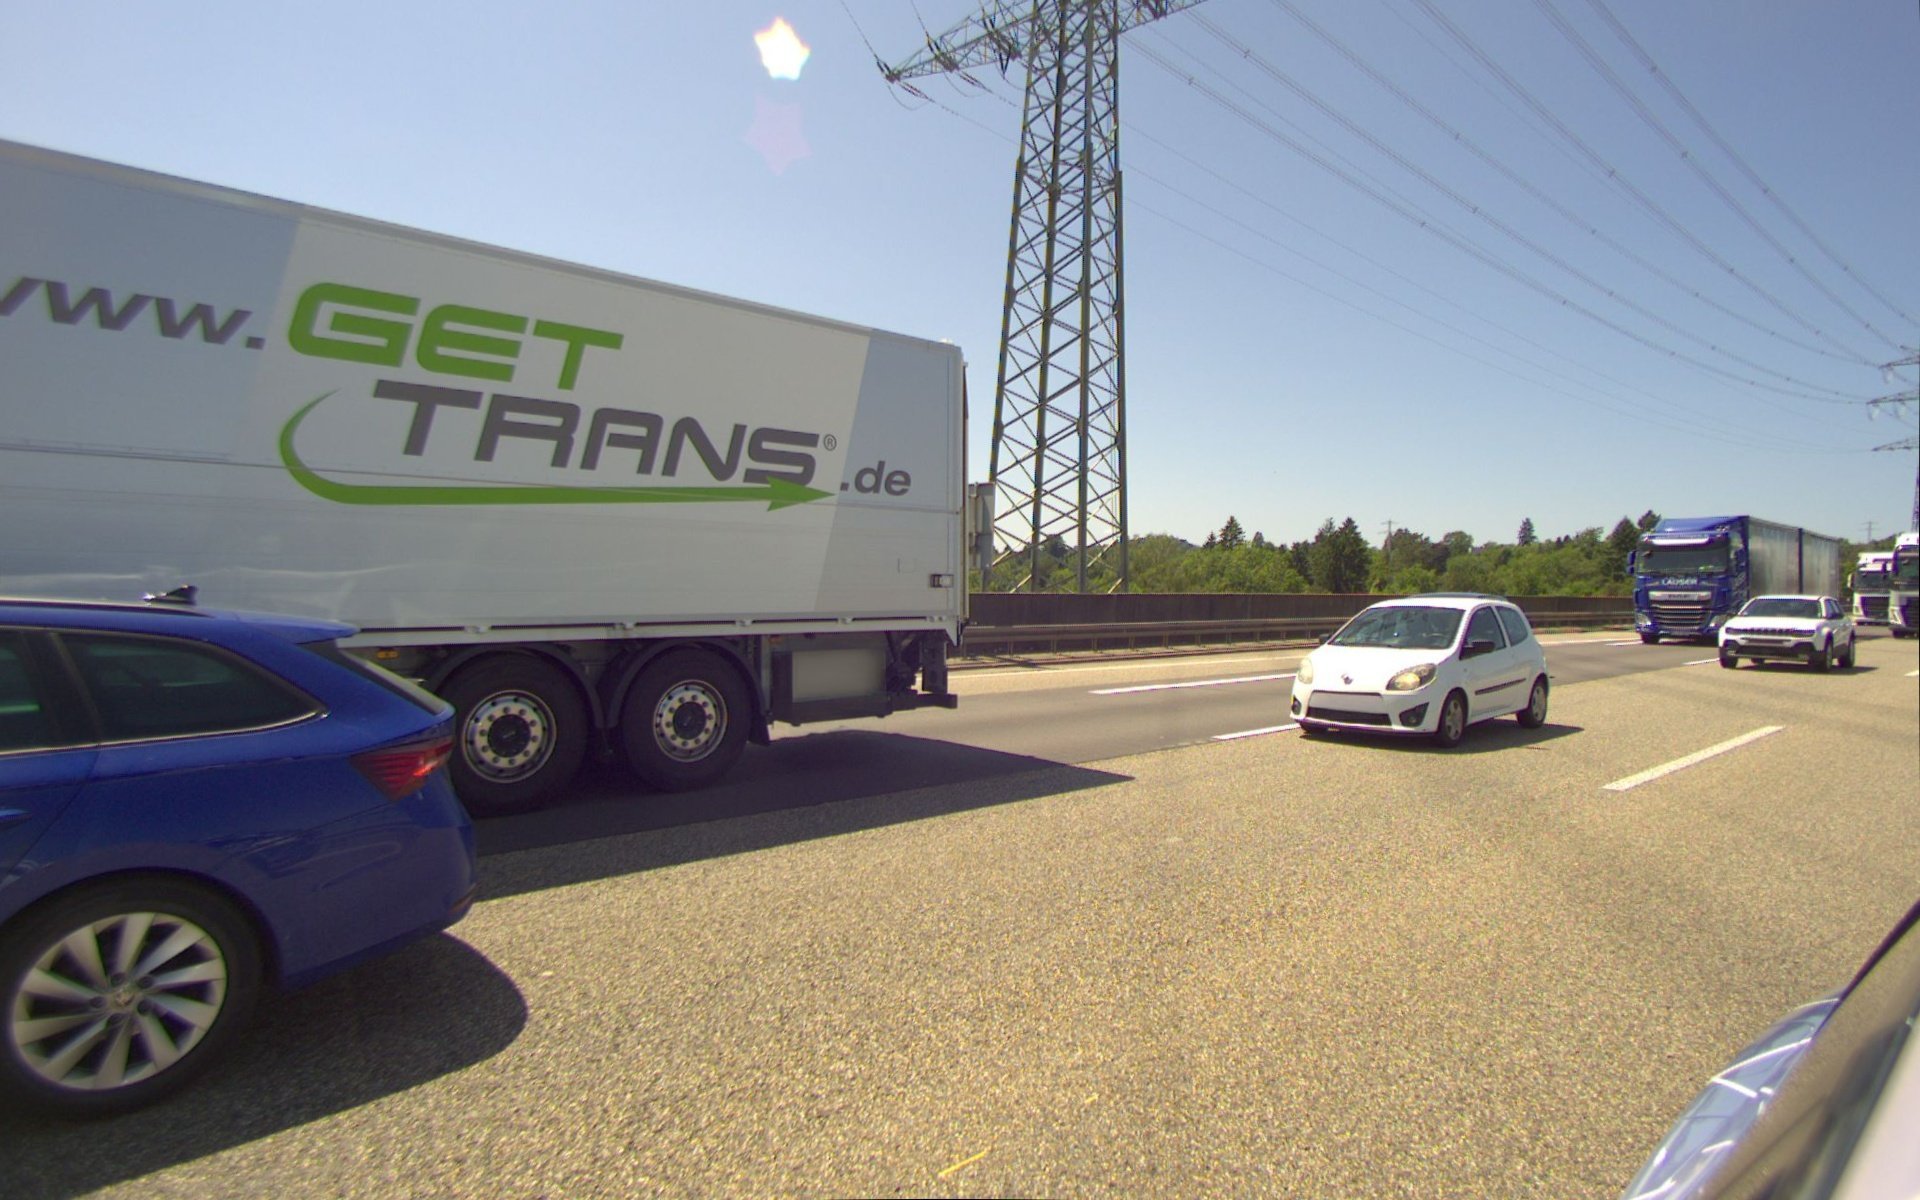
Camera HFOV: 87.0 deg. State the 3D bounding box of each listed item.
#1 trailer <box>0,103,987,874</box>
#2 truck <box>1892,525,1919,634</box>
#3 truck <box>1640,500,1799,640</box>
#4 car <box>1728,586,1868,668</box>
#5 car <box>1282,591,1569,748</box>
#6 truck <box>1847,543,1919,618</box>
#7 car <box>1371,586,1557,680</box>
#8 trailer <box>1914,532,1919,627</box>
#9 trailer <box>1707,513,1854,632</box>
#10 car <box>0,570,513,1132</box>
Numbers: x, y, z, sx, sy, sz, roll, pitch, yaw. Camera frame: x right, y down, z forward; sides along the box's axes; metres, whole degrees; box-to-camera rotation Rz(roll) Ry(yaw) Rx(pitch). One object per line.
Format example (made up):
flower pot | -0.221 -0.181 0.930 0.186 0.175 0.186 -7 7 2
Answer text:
trailer | -3.699 -0.539 7.475 8.150 3.640 2.848 0 0 -42
truck | 37.593 -0.797 38.166 6.624 3.941 2.911 -1 0 -41
truck | 24.537 -0.883 32.537 7.788 4.018 2.515 0 0 -41
car | 17.518 0.500 21.110 3.688 1.554 1.720 0 0 -41
car | 5.224 0.632 11.171 3.566 1.458 1.582 0 0 -41
truck | 51.795 -1.064 56.233 6.624 3.941 2.911 -1 0 -41
car | 9.193 0.524 18.349 3.821 1.524 1.708 0 0 -41
trailer | 43.690 -0.909 43.549 9.605 3.918 2.895 -1 0 -41
trailer | 31.494 -1.001 38.621 10.697 4.044 2.541 -1 0 -41
car | -3.745 0.648 2.641 4.423 1.458 1.712 0 1 -42
